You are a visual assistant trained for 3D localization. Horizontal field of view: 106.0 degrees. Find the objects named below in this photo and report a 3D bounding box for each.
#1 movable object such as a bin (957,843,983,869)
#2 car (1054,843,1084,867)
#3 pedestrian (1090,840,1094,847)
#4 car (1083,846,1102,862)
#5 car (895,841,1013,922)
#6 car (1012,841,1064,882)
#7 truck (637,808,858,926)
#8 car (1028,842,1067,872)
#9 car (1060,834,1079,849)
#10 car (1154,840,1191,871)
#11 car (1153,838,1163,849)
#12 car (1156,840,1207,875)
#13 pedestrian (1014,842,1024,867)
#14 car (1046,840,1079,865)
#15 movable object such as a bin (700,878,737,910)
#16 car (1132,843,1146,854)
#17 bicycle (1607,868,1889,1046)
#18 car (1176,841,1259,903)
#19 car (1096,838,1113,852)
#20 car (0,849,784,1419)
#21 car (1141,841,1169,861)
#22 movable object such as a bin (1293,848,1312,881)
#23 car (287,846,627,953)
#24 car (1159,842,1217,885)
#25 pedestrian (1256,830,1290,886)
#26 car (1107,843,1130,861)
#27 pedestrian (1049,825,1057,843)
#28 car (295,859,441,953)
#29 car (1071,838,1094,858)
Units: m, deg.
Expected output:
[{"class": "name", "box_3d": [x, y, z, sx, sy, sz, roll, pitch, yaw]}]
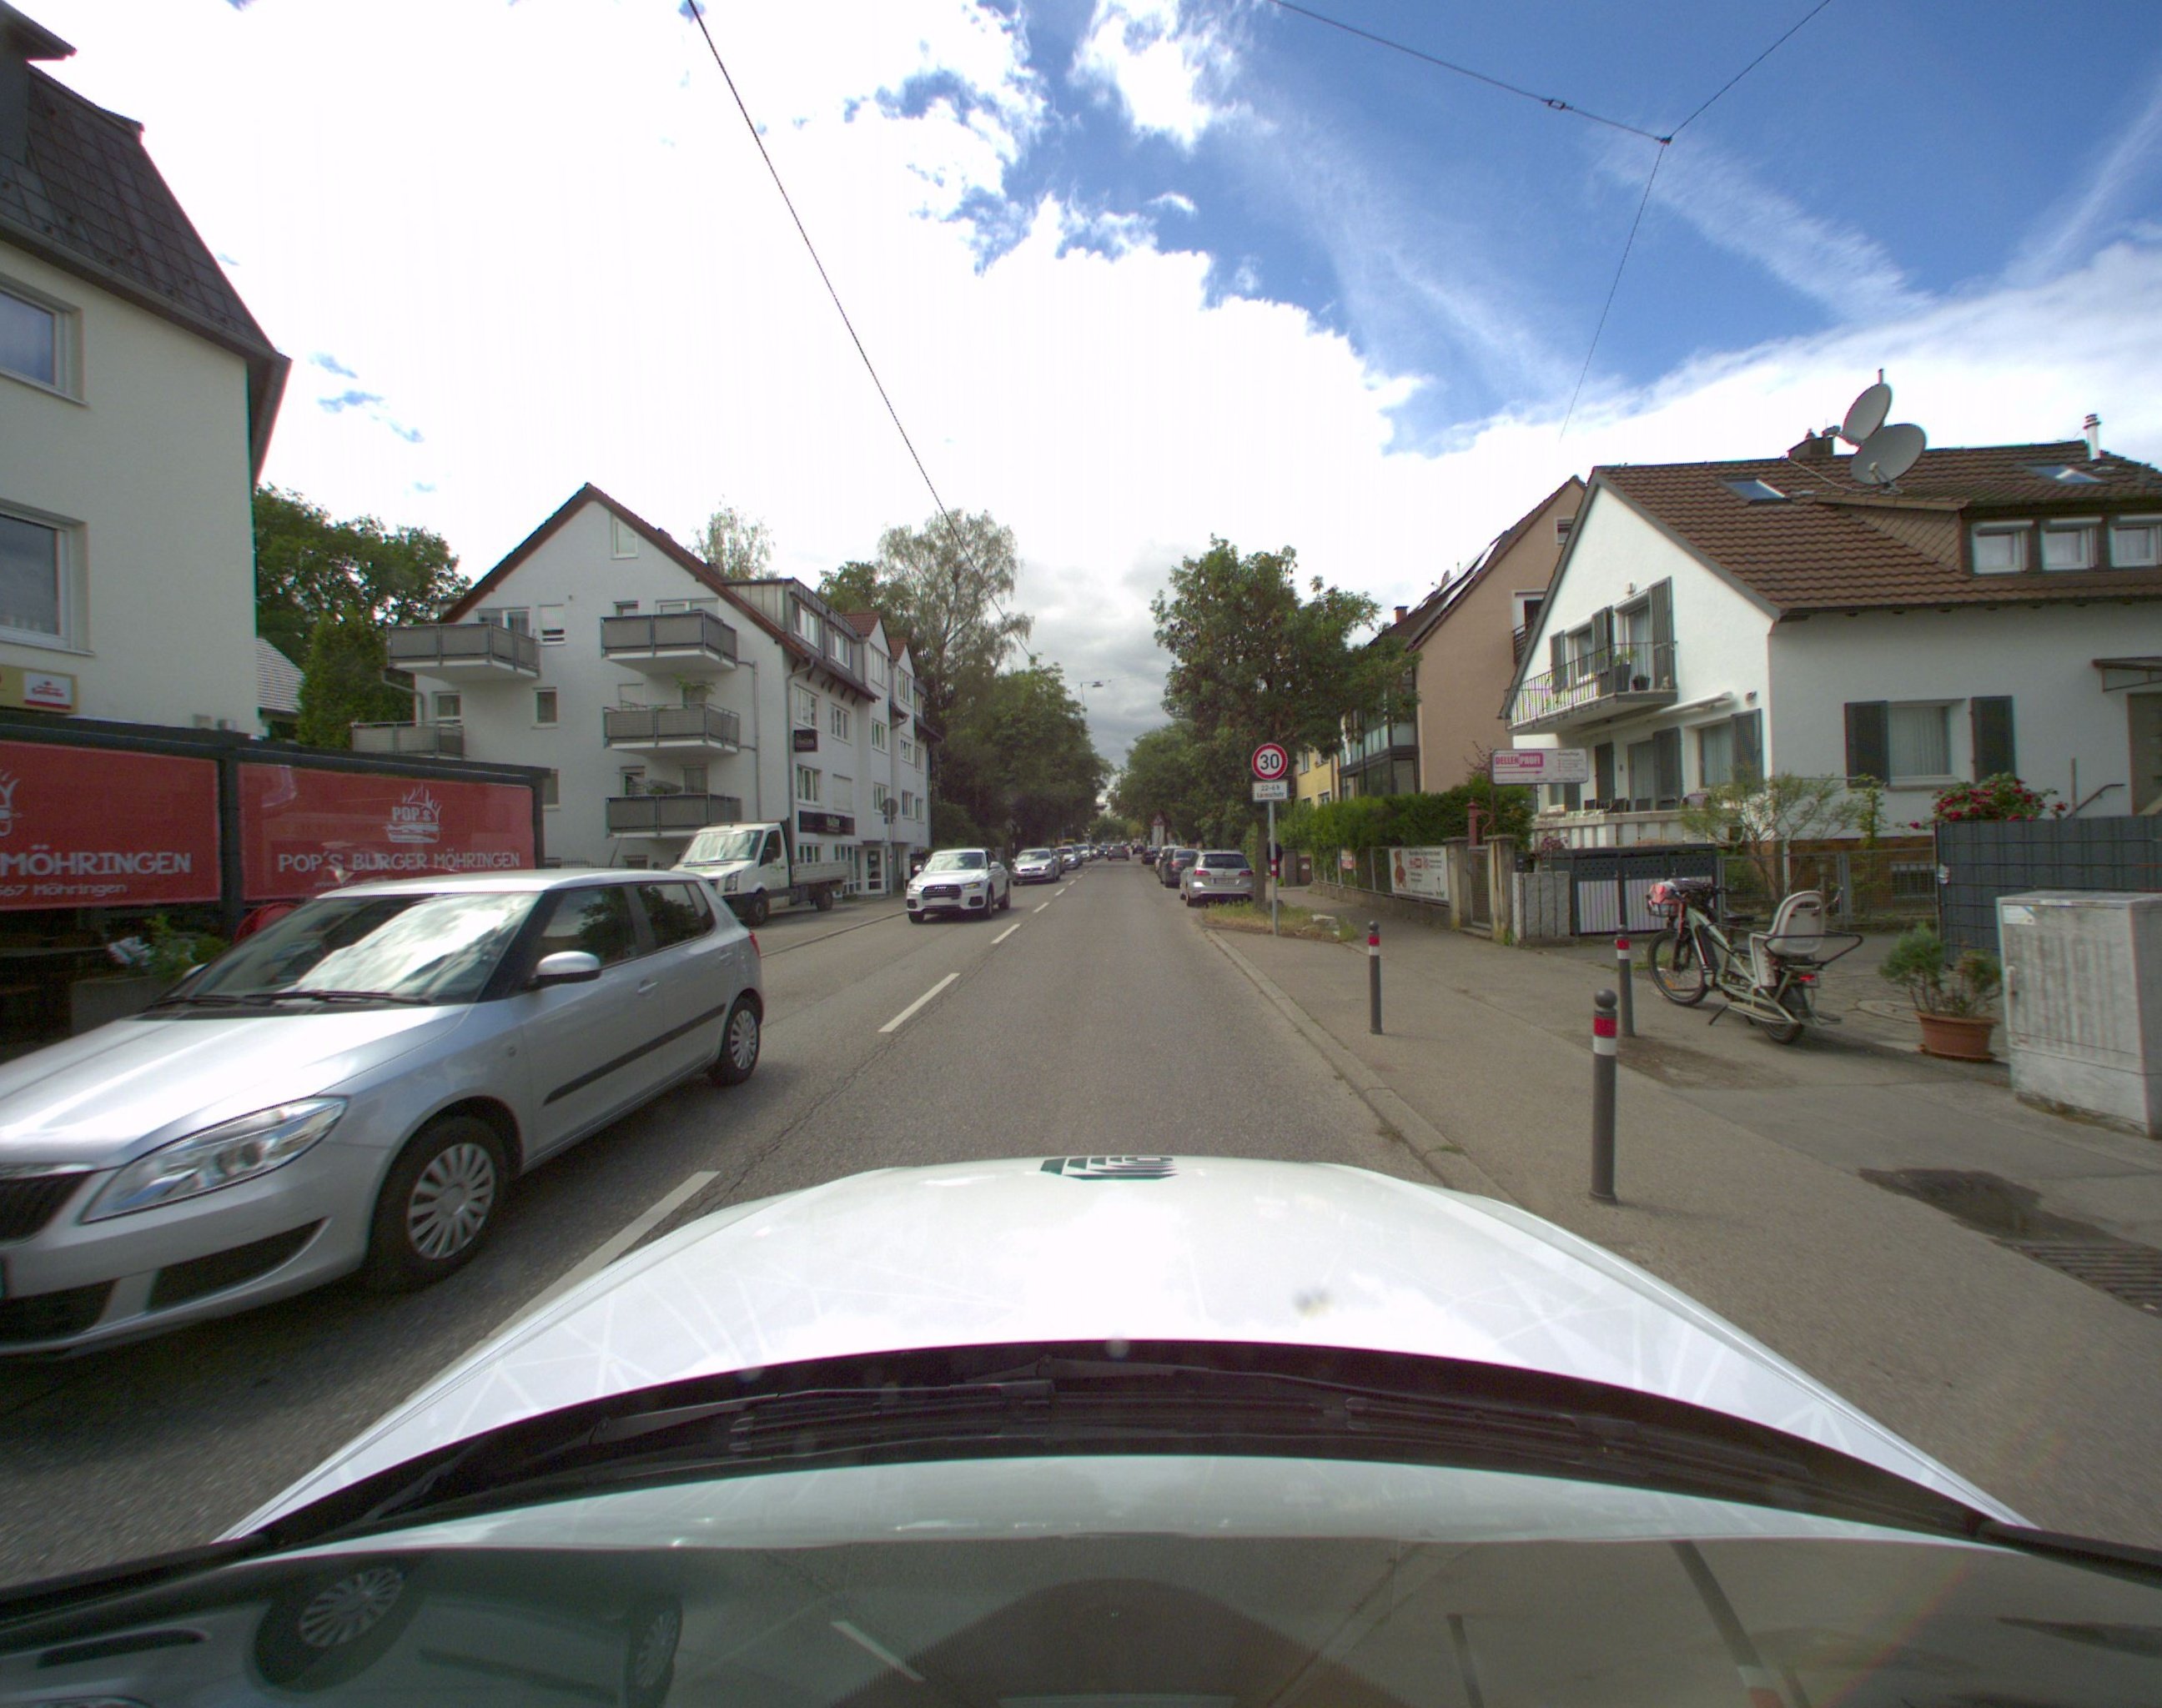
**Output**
[{"class": "movable object such as a bin", "box_3d": [-6.241, 0.099, 46.002, 1.327, 1.427, 1.213, -1, 0, -4]}, {"class": "car", "box_3d": [-0.858, 0.017, 61.074, 1.920, 1.546, 4.090, -5, 1, 3]}, {"class": "pedestrian", "box_3d": [2.381, -2.184, 170.410, 0.701, 1.439, 0.715, -1, 0, 7]}, {"class": "car", "box_3d": [1.275, -0.036, 87.622, 1.777, 1.591, 4.158, -3, 1, 3]}, {"class": "car", "box_3d": [-2.804, 0.537, 18.910, 1.798, 1.571, 4.162, -4, 1, 3]}, {"class": "car", "box_3d": [-1.782, 0.277, 34.804, 1.722, 1.502, 4.379, -4, 1, 2]}, {"class": "truck", "box_3d": [-7.726, 0.260, 19.866, 2.213, 2.380, 6.335, -1, 0, 5]}, {"class": "car", "box_3d": [-1.816, 0.133, 45.115, 1.703, 1.455, 4.289, -5, 0, 2]}, {"class": "car", "box_3d": [-1.630, -1.729, 115.969, 2.135, 1.980, 4.938, -1, 0, 5]}, {"class": "car", "box_3d": [4.658, 0.044, 41.993, 1.615, 1.507, 3.782, -2, 1, 3]}, {"class": "car", "box_3d": [15.123, -2.112, 160.510, 1.984, 2.013, 4.005, -1, 0, 5]}, {"class": "car", "box_3d": [4.444, 0.107, 36.593, 1.984, 1.423, 4.594, -2, 1, 4]}, {"class": "pedestrian", "box_3d": [-4.158, 0.018, 54.711, 0.651, 1.666, 0.931, -1, 0, -3]}, {"class": "car", "box_3d": [-1.156, -0.130, 51.795, 1.753, 1.439, 3.973, -3, 1, 3]}, {"class": "movable object such as a bin", "box_3d": [-11.195, 1.228, 25.170, 0.793, 0.962, 0.662, -1, 0, 6]}, {"class": "car", "box_3d": [7.764, -0.750, 109.386, 1.807, 1.500, 4.273, 0, 1, 4]}, {"class": "bicycle", "box_3d": [5.257, 0.726, 6.657, 0.716, 1.150, 2.218, -2, 0, 8]}, {"class": "car", "box_3d": [3.603, 0.392, 22.255, 1.694, 1.480, 4.876, 0, 1, 3]}, {"class": "car", "box_3d": [2.825, -1.114, 97.104, 1.781, 1.541, 4.269, -3, 1, 5]}, {"class": "car", "box_3d": [-3.035, 0.758, 4.099, 1.612, 1.486, 3.813, -1, 1, 0]}, {"class": "car", "box_3d": [5.484, -0.264, 60.941, 1.794, 1.445, 4.889, 0, 1, 2]}, {"class": "movable object such as a bin", "box_3d": [7.450, 0.338, 27.355, 0.520, 1.080, 0.606, -1, 0, 8]}, {"class": "car", "box_3d": [-9.294, 0.632, 12.391, 3.682, 1.425, 1.804, -1, 1, -2]}, {"class": "car", "box_3d": [3.946, 0.305, 30.698, 1.727, 1.428, 4.887, 1, 1, 3]}, {"class": "pedestrian", "box_3d": [6.012, 0.120, 25.551, 0.876, 1.712, 0.843, -1, 0, 4]}, {"class": "car", "box_3d": [3.448, -0.223, 74.620, 1.967, 1.513, 4.271, 2, 1, 3]}, {"class": "pedestrian", "box_3d": [-2.707, -1.955, 79.395, 0.712, 1.762, 1.121, -1, 0, -2]}, {"class": "car", "box_3d": [-12.789, 0.877, 14.579, 2.811, 1.470, 1.576, -2, 0, 41]}, {"class": "car", "box_3d": [0.176, -0.594, 75.202, 1.778, 1.647, 4.495, -4, 1, 3]}]
